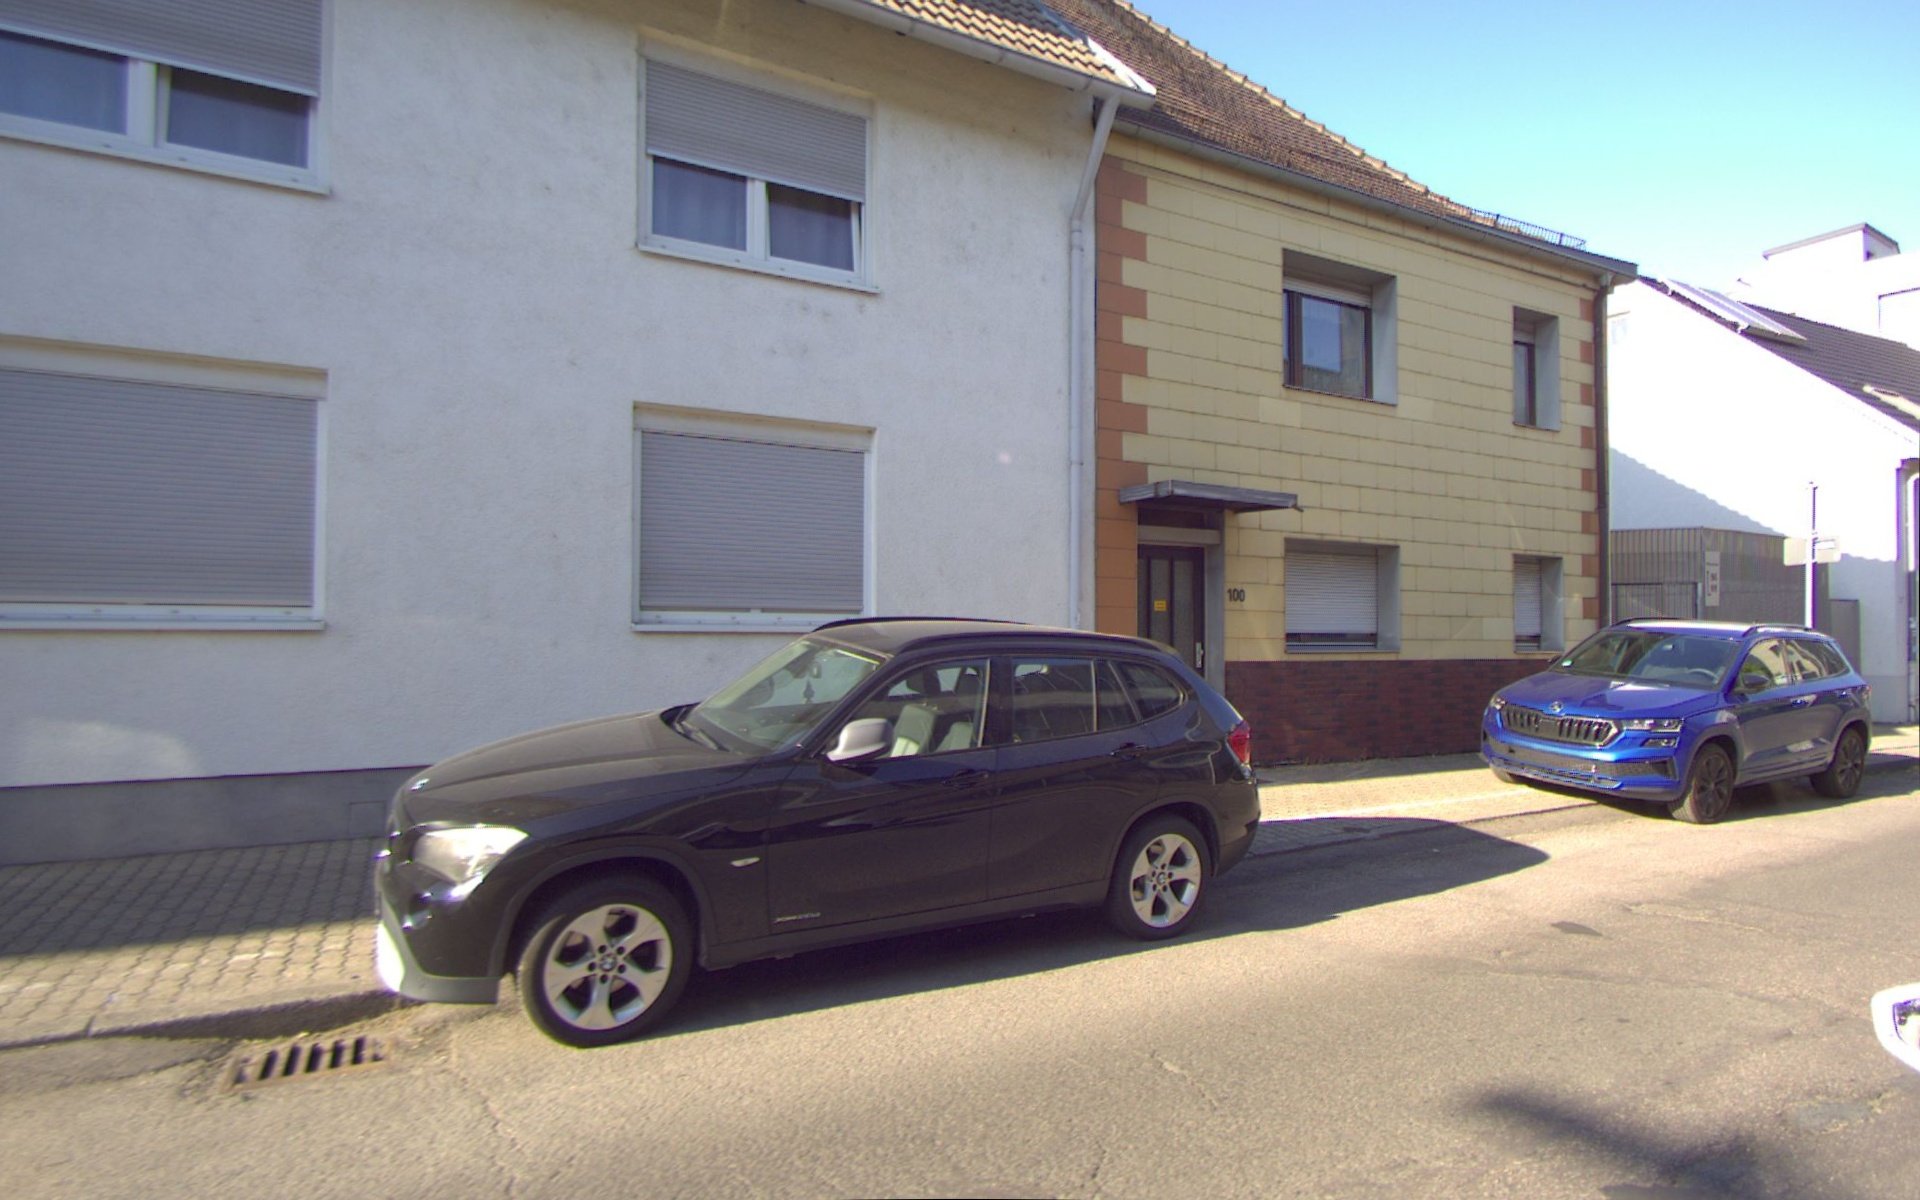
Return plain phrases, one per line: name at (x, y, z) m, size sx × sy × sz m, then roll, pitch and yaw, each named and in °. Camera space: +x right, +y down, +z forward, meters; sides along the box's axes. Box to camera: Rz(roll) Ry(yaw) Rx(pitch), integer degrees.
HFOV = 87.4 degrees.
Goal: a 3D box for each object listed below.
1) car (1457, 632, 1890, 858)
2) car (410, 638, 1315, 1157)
car at (6.814, 1.167, 9.513) m, size 4.142 × 1.608 × 1.800 m, roll 0°, pitch 0°, yaw -30°
car at (-0.387, 1.054, 5.187) m, size 4.282 × 1.608 × 1.850 m, roll 0°, pitch 0°, yaw -29°
